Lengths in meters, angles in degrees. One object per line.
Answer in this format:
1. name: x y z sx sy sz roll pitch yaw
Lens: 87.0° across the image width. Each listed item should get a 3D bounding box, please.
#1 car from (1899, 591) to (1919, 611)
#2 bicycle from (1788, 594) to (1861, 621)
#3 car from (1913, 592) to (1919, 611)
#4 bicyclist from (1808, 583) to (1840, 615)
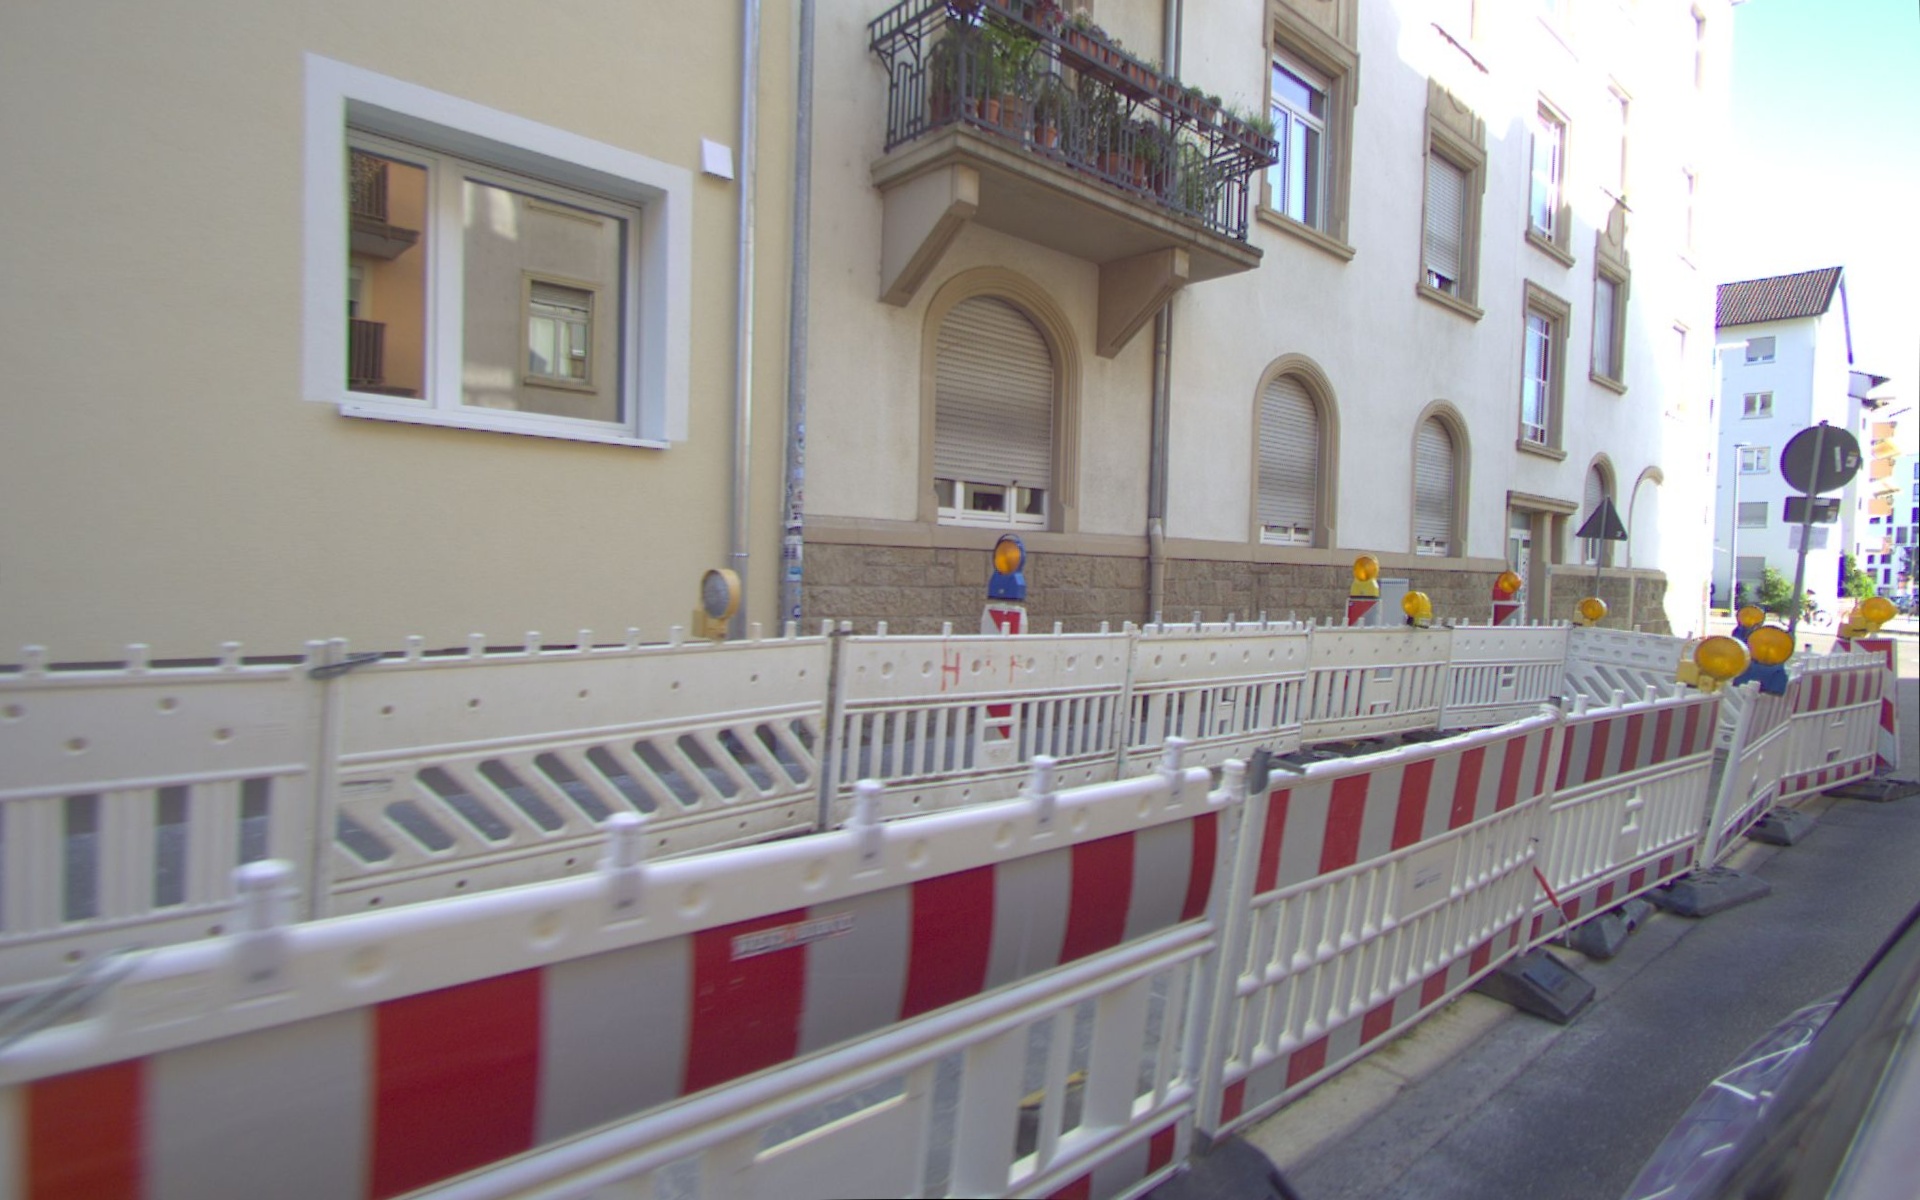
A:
1. car: 78.046 0.168 82.197 1.748 1.470 3.954 8 6 32
2. bicycle: 36.997 0.294 43.350 2.189 1.027 0.804 3 2 27
3. car: 75.606 0.241 78.470 1.748 1.470 3.952 8 6 33
4. bicyclist: 36.997 -0.063 43.351 0.817 1.328 0.804 2 2 26
